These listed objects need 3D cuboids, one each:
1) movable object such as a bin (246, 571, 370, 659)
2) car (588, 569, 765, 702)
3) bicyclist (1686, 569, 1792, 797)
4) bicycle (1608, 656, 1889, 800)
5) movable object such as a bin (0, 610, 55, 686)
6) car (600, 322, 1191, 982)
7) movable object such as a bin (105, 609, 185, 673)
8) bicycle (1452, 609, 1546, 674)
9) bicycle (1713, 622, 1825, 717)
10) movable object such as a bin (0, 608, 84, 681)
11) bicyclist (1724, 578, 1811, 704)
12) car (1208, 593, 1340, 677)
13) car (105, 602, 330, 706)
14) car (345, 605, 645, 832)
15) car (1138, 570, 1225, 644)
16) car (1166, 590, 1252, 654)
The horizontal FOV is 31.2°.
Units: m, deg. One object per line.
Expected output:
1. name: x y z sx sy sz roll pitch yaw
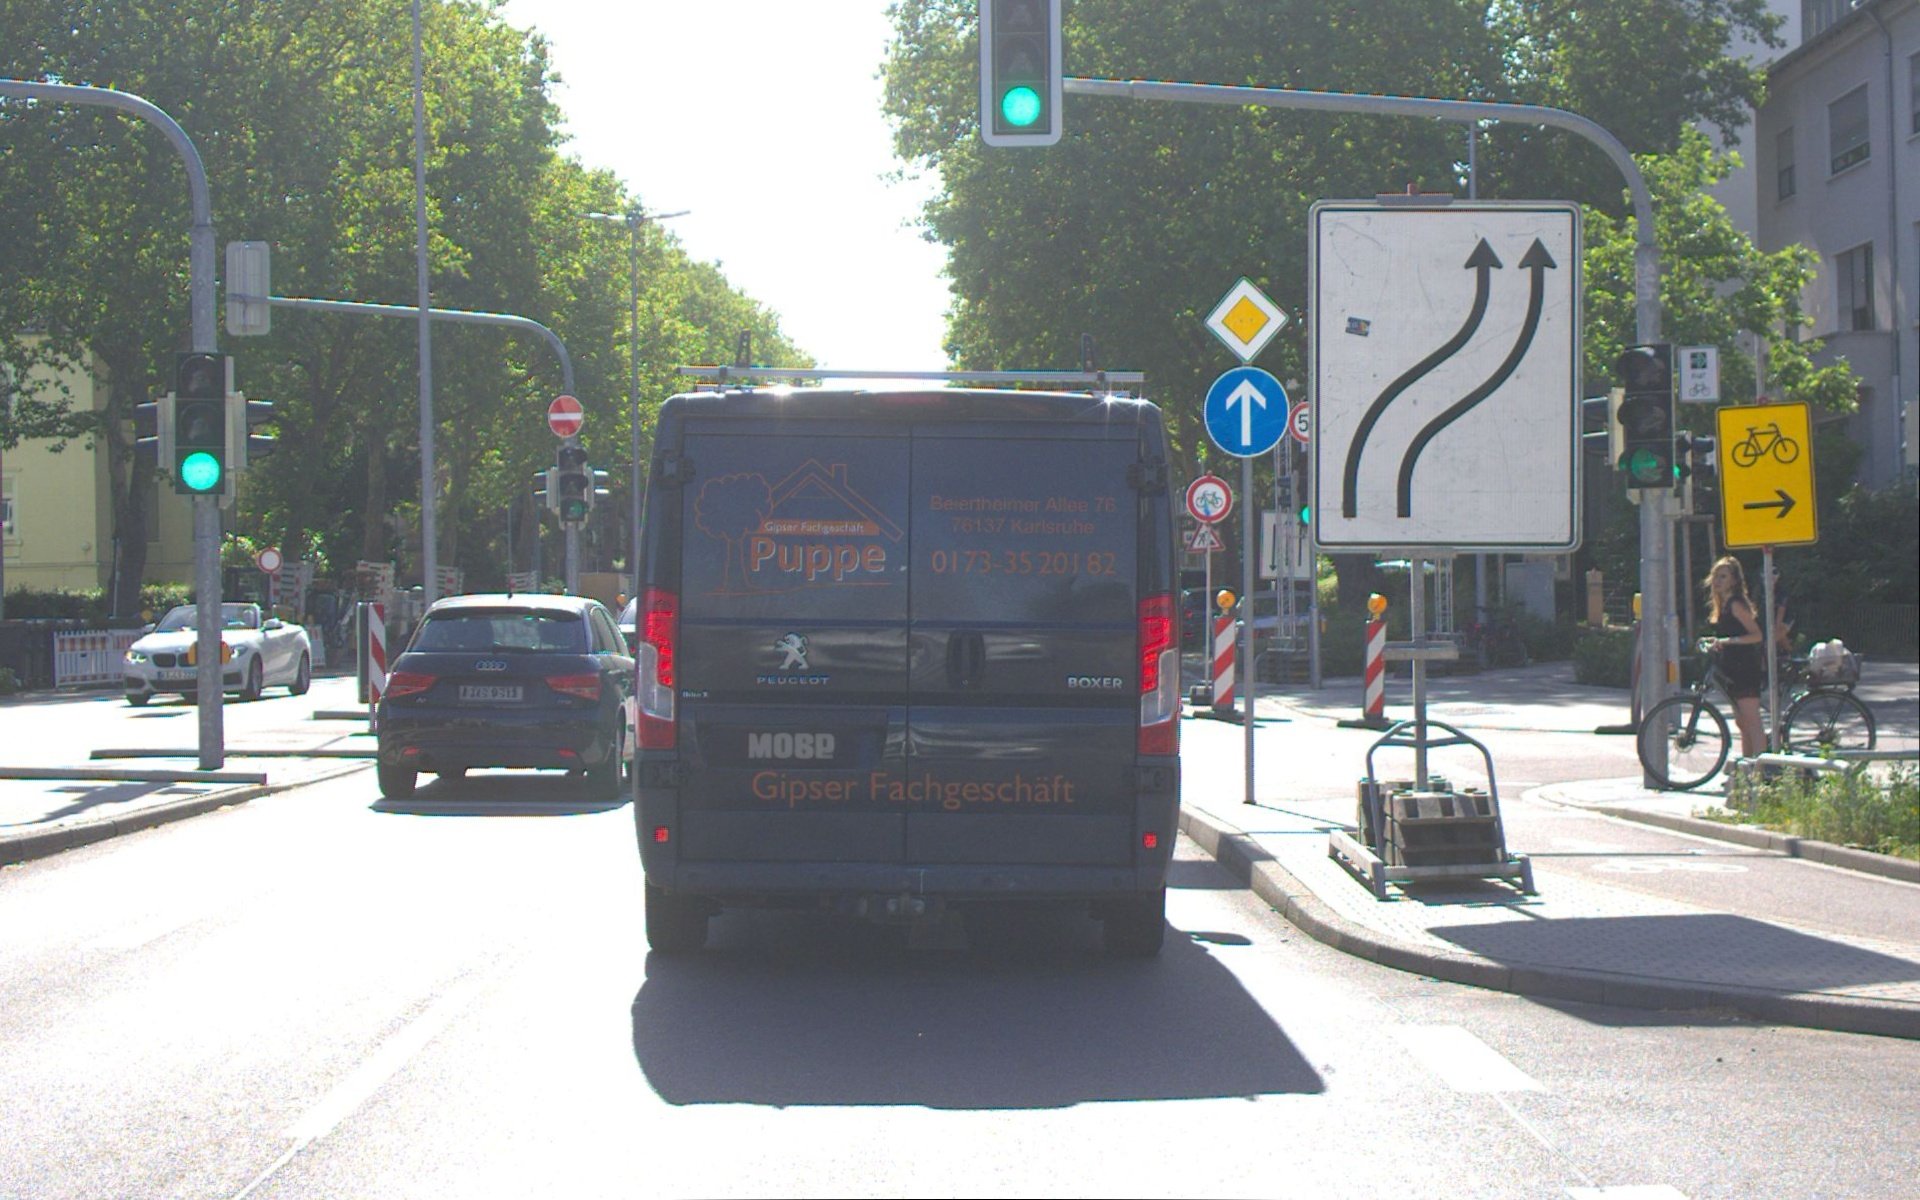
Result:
1. movable object such as a bin: -17.591 0.388 92.965 1.994 2.271 5.598 -1 0 3
2. car: -3.156 0.375 38.885 1.746 1.402 4.000 1 0 -1
3. bicyclist: 5.908 0.615 26.105 0.603 1.703 0.858 0 0 0
4. bicycle: 5.963 0.965 26.052 1.962 1.022 0.605 1 1 0
5. movable object such as a bin: -17.656 0.886 63.899 1.114 1.383 1.855 0 0 2
6. car: -0.251 0.163 14.268 2.095 2.347 3.933 0 1 -1
7. movable object such as a bin: -17.356 0.865 73.241 1.410 1.333 1.156 0 0 3
8. bicycle: 8.518 0.650 54.296 0.588 1.002 2.127 0 0 35
9. bicycle: 9.698 0.817 41.182 0.690 1.094 1.683 0 0 37
10. movable object such as a bin: -17.741 0.848 66.237 1.214 1.383 1.855 0 0 2
11. bicyclist: 9.685 0.482 41.235 0.725 1.494 0.869 0 0 36
12. car: 5.713 0.609 63.047 1.852 1.474 4.942 0 0 -1
13. car: -10.268 0.722 47.849 1.931 1.341 4.316 0 0 4
14. car: -3.340 0.809 25.340 1.746 1.402 4.001 1 1 -1
15. car: 6.025 0.185 93.952 2.026 1.940 5.273 0 0 0
16. car: 5.942 0.509 82.273 1.763 1.503 4.251 0 0 0
